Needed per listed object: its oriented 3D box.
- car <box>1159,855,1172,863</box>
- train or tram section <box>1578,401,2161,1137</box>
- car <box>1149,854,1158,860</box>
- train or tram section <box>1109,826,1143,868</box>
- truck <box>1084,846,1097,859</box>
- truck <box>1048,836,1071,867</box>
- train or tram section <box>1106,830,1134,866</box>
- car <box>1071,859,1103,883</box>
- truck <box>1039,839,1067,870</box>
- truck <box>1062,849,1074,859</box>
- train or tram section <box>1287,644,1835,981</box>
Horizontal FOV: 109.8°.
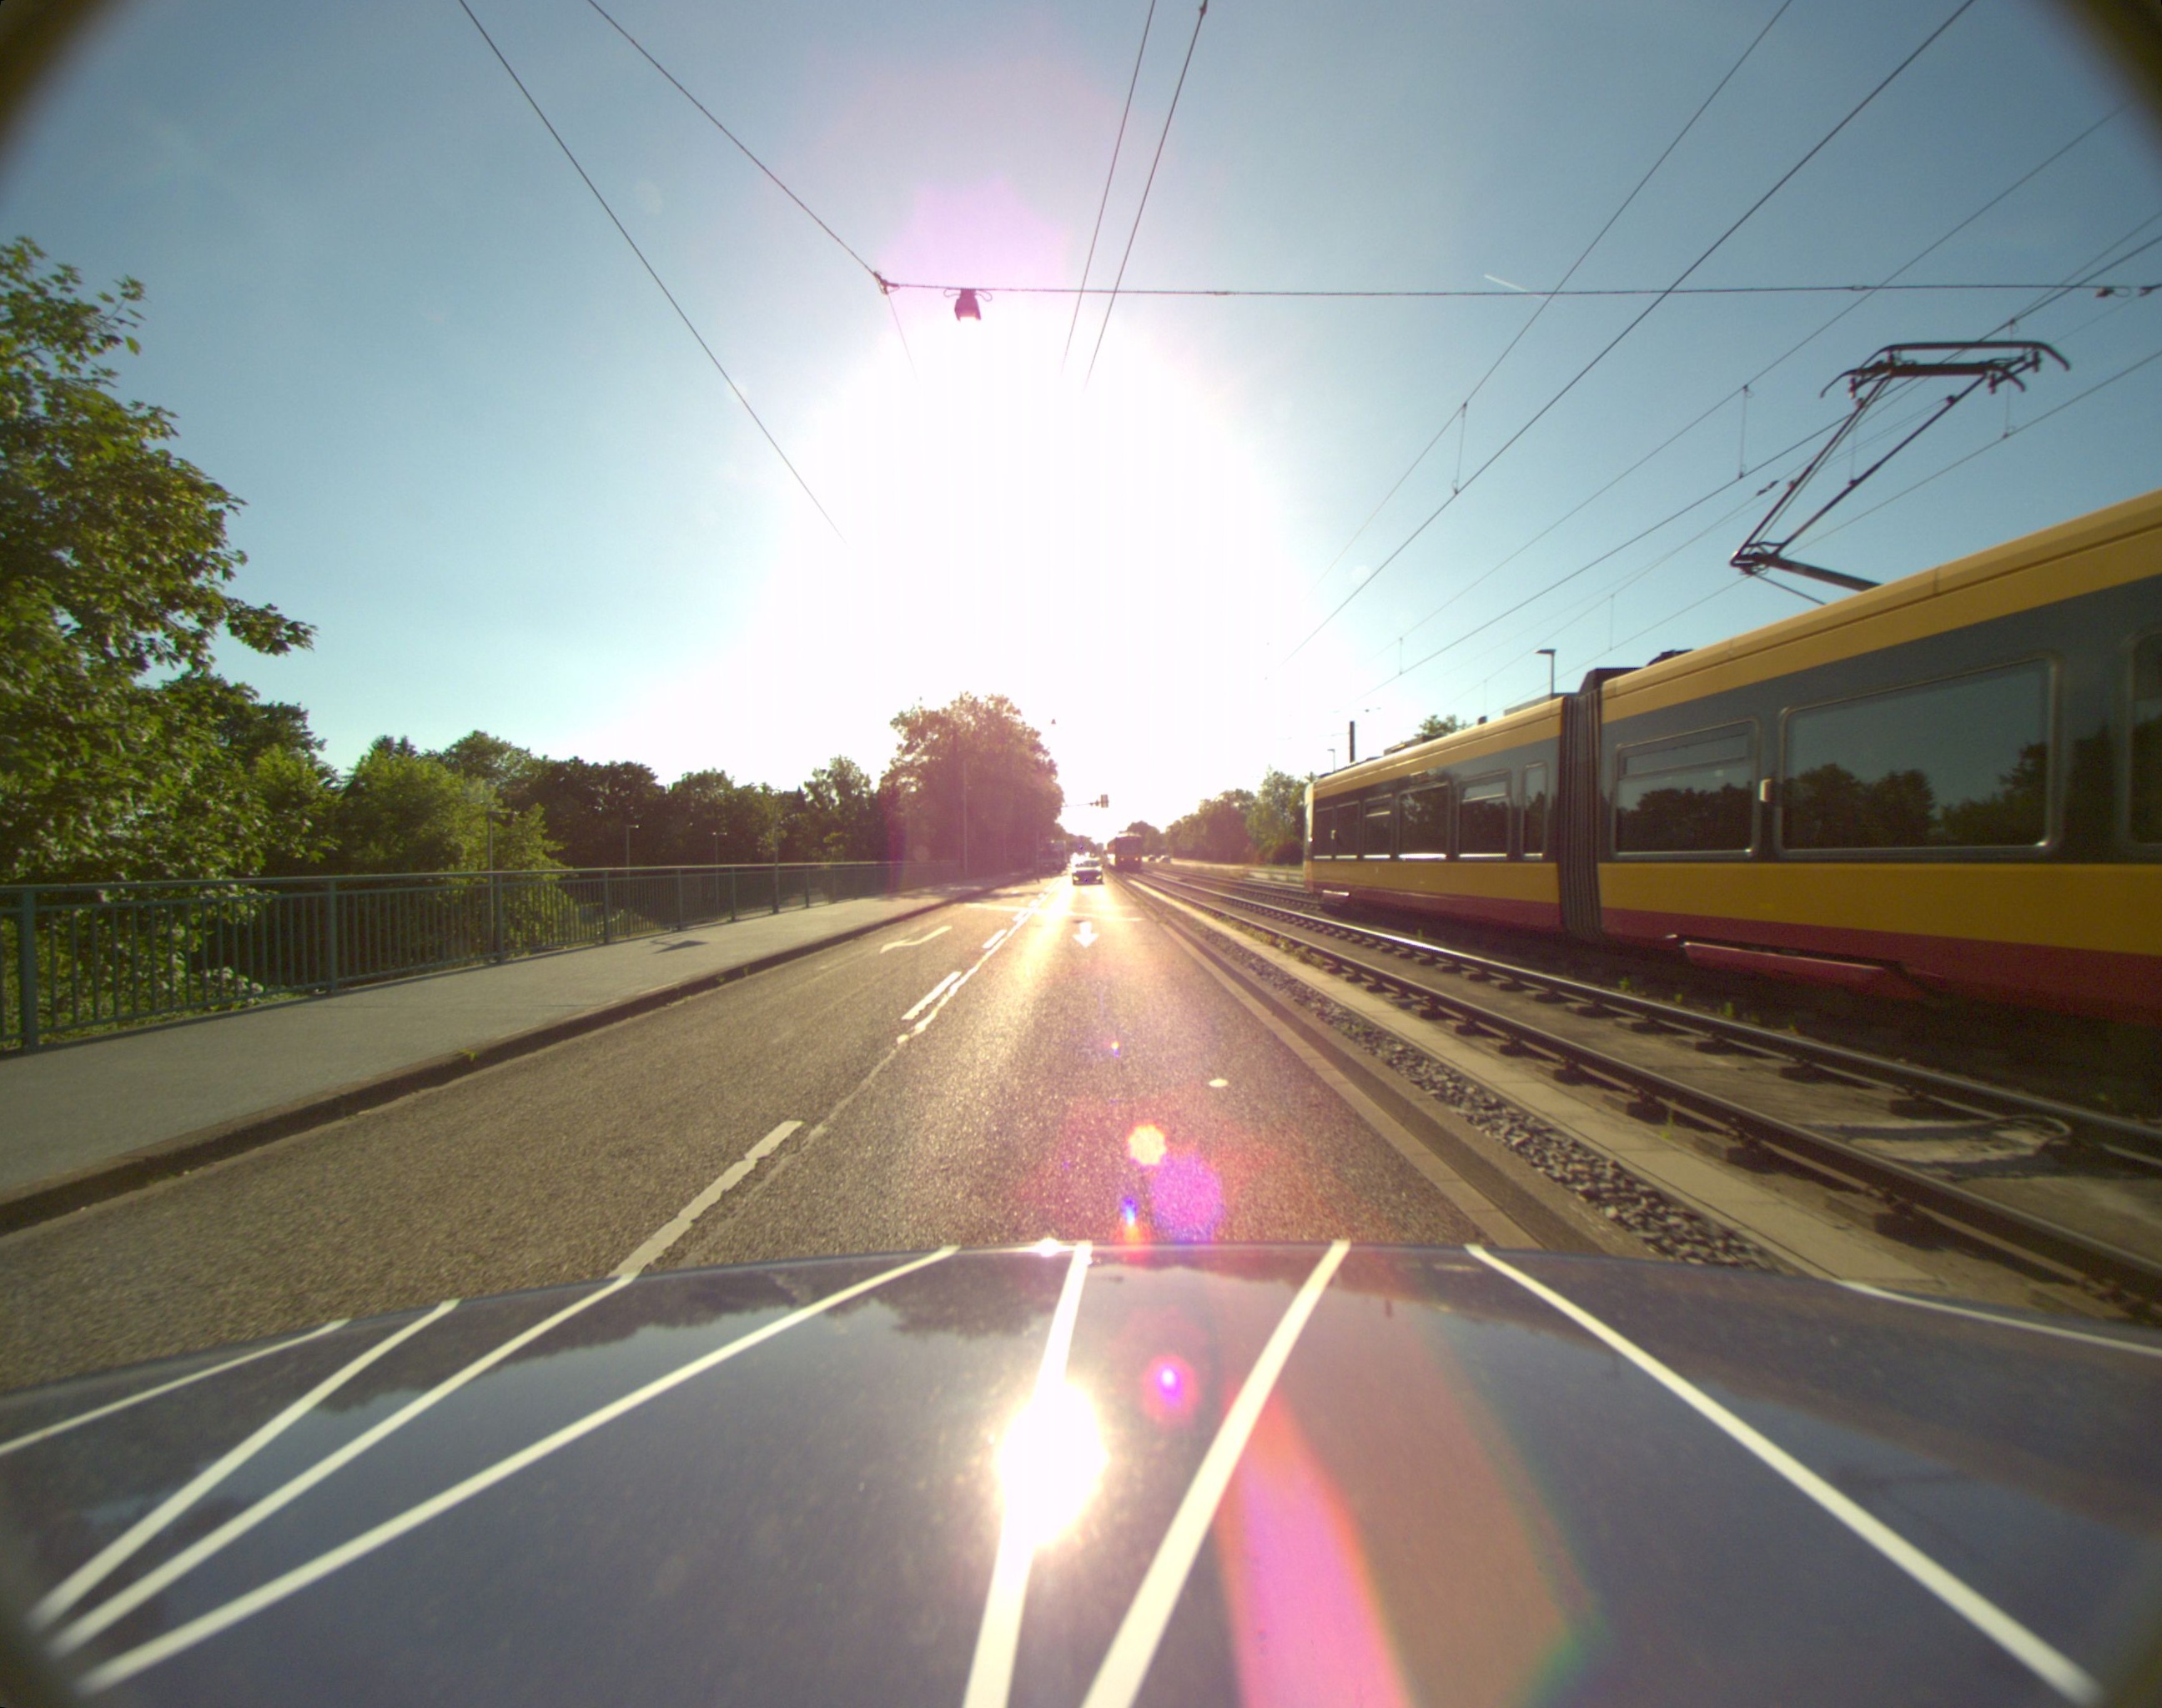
[{"bbox_3d":[14.804,0.907,133.238,1.801,1.345,4.000,-2,1,1],"label":"car"},{"bbox_3d":[7.172,-0.464,2.950,2.984,3.878,11.665,-1,0,1],"label":"train or tram section"},{"bbox_3d":[17.201,0.711,180.175,1.801,1.345,4.000,-2,1,1],"label":"car"},{"bbox_3d":[4.367,-0.652,75.839,2.569,3.878,11.671,-1,0,0],"label":"train or tram section"},{"bbox_3d":[2.475,-0.400,199.703,3.314,3.283,15.322,-1,0,1],"label":"truck"},{"bbox_3d":[-2.790,-0.328,100.280,2.559,3.826,7.870,-1,0,1],"label":"truck"},{"bbox_3d":[4.348,-0.653,87.504,2.569,3.878,11.671,-1,0,0],"label":"train or tram section"},{"bbox_3d":[0.403,0.974,45.050,1.801,1.345,4.000,0,0,1],"label":"car"},{"bbox_3d":[-2.997,0.057,83.667,2.610,3.185,7.870,-1,0,1],"label":"truck"},{"bbox_3d":[-2.460,-0.021,149.091,2.097,1.961,6.027,0,0,1],"label":"truck"},{"bbox_3d":[7.384,-0.482,15.420,3.011,3.878,13.081,-1,0,1],"label":"train or tram section"}]
